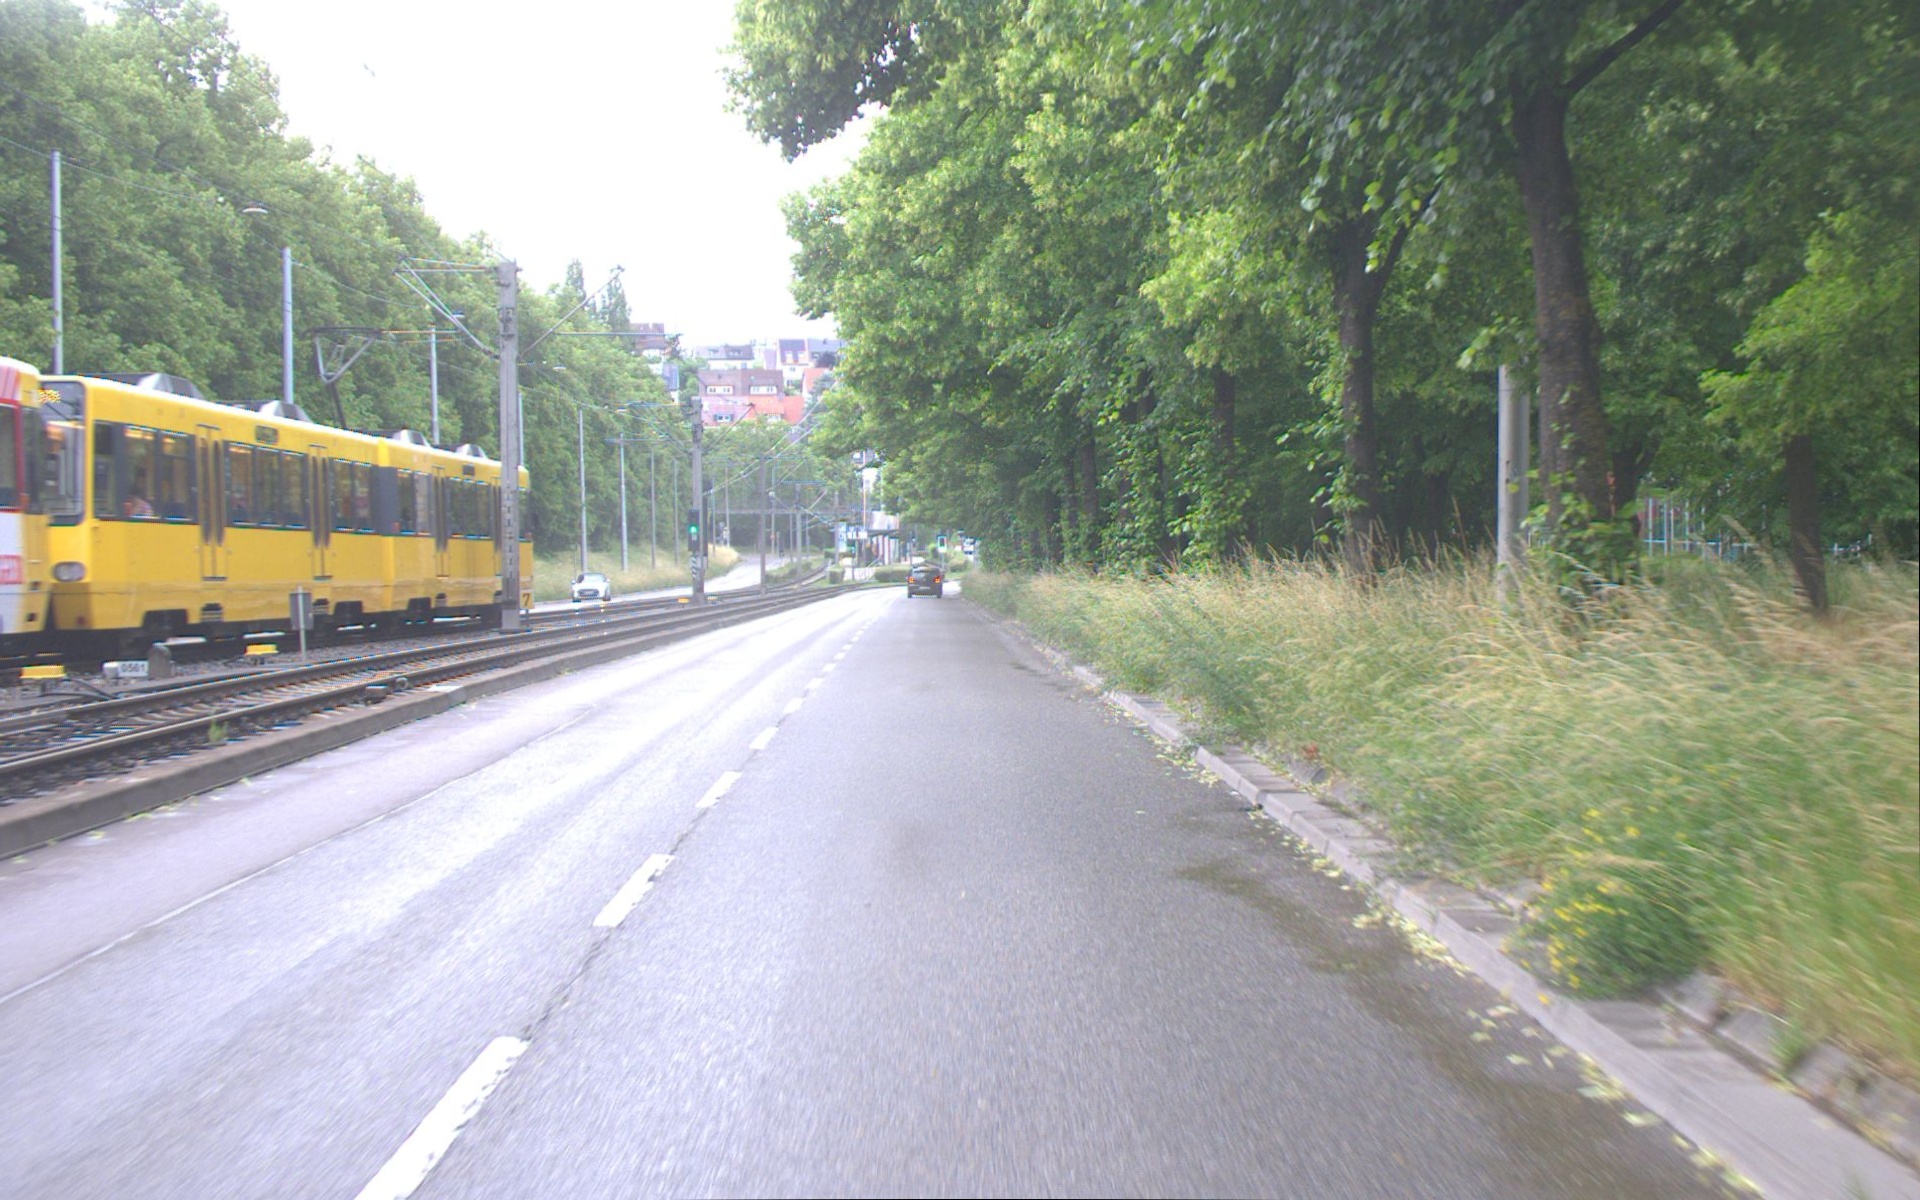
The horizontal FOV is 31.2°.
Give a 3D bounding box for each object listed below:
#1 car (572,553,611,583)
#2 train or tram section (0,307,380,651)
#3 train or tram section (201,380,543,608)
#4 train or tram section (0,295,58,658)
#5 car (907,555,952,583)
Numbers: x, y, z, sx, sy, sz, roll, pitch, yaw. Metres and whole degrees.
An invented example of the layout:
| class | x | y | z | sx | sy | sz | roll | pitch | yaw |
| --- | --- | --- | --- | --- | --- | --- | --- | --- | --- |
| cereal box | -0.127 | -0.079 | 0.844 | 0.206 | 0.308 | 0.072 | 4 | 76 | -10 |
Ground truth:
| class | x | y | z | sx | sy | sz | roll | pitch | yaw |
| --- | --- | --- | --- | --- | --- | --- | --- | --- | --- |
| car | -18.414 | -1.602 | 172.018 | 1.476 | 1.431 | 3.909 | -2 | 1 | 0 |
| train or tram section | -11.304 | -1.551 | 47.637 | 2.967 | 3.797 | 19.099 | 0 | 1 | 1 |
| train or tram section | -10.964 | -1.979 | 66.941 | 2.967 | 3.797 | 19.520 | 0 | 1 | 1 |
| train or tram section | -11.642 | -1.130 | 28.779 | 2.967 | 3.797 | 18.615 | 0 | 1 | 1 |
| car | -1.511 | -1.545 | 169.714 | 2.194 | 1.325 | 4.000 | 0 | 2 | -1 |
